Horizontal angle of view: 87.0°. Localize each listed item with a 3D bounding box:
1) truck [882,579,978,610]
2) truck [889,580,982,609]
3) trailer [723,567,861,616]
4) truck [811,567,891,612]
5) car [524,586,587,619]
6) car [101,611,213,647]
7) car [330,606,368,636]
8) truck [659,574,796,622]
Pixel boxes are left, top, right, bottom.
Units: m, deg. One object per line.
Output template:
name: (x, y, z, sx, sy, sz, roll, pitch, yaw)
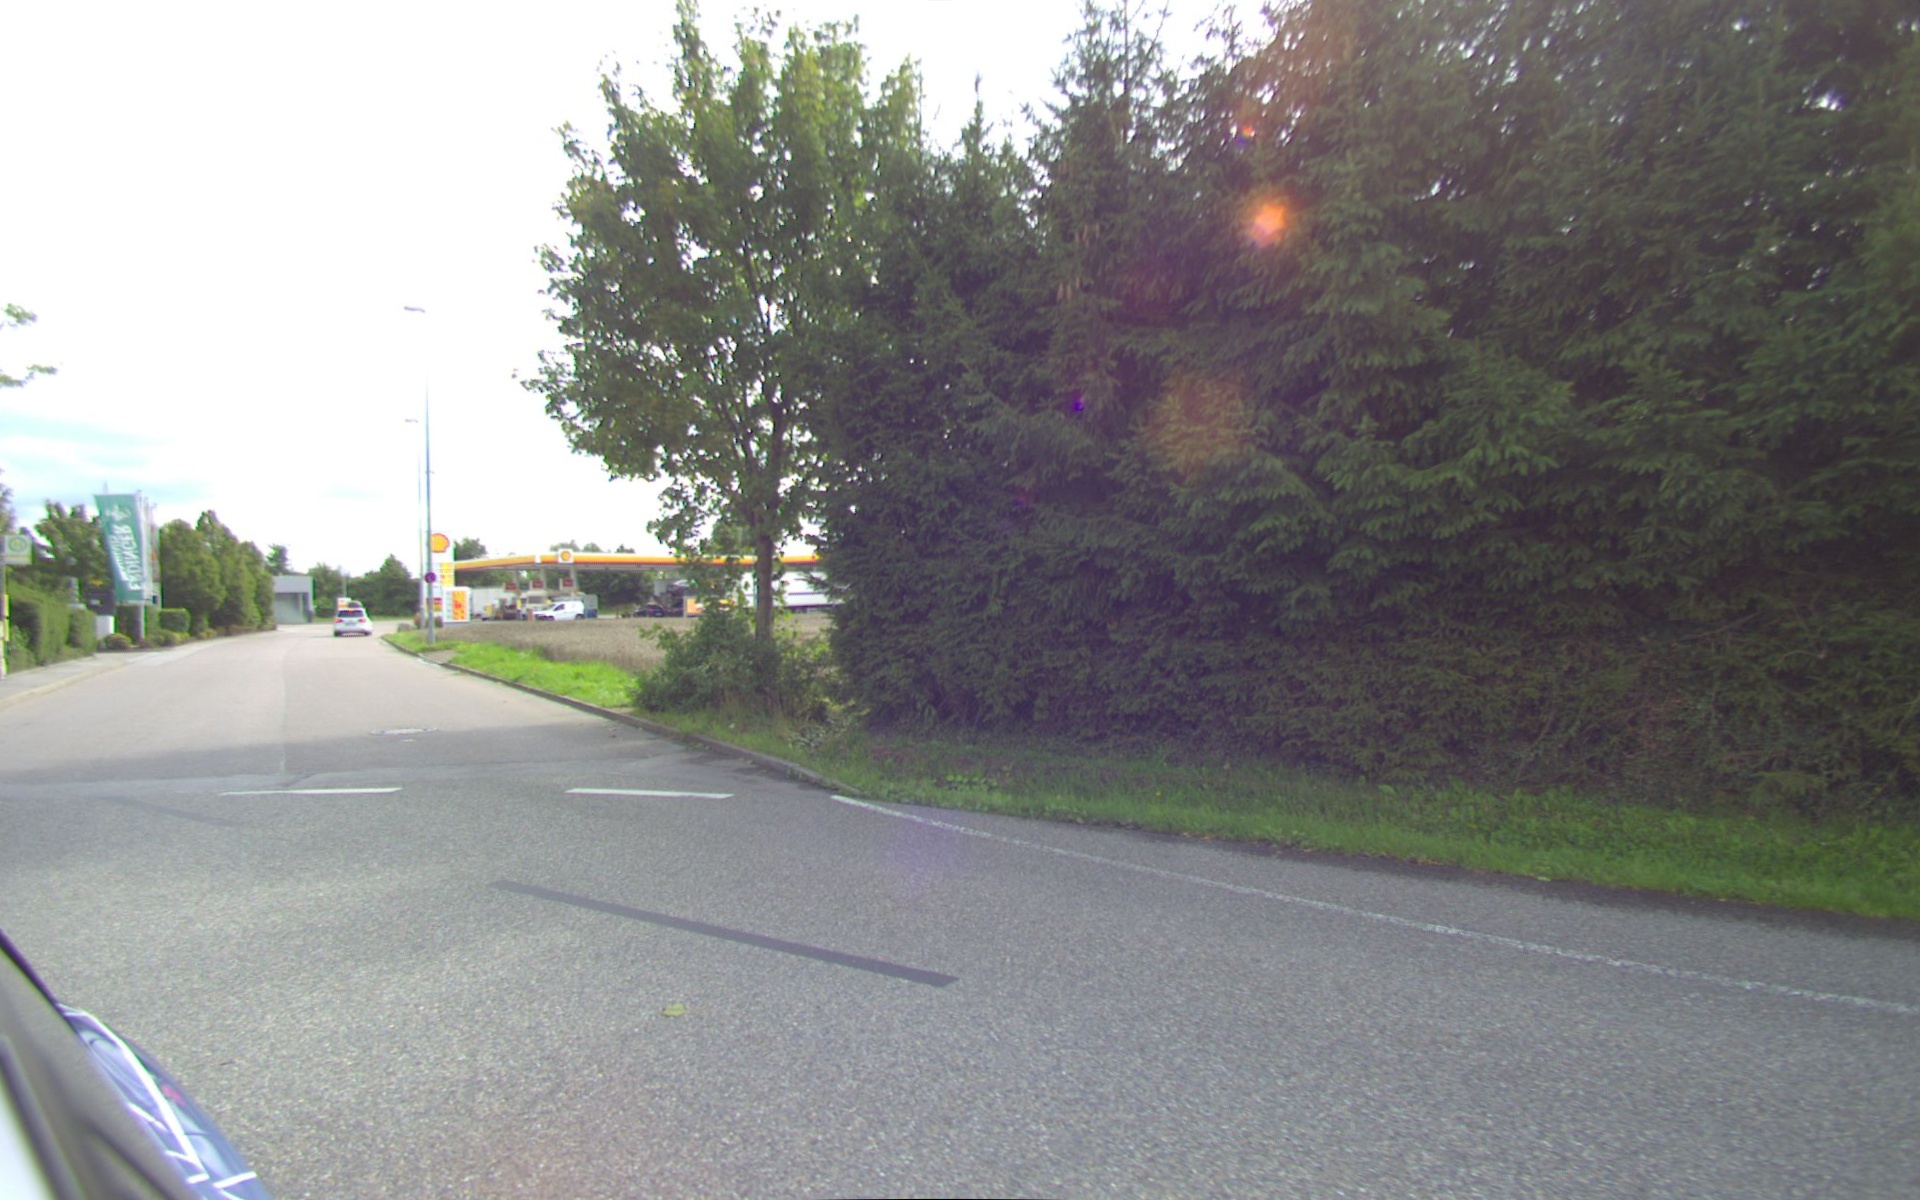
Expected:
truck: (-3.936, -0.768, 135.010, 12.635, 3.922, 2.823, 0, 1, 2)
truck: (-3.355, -0.722, 141.827, 12.842, 3.922, 2.822, 0, 1, 3)
trailer: (-14.649, -0.821, 89.631, 12.653, 4.055, 2.715, -1, 0, -43)
truck: (-10.078, -0.978, 93.952, 7.060, 4.055, 2.715, -1, 0, -43)
car: (-36.275, 0.178, 90.934, 2.204, 2.808, 5.780, -1, 0, 15)
car: (-41.790, 1.477, 52.760, 4.288, 1.729, 1.662, -1, 0, -25)
car: (-35.866, 1.224, 59.383, 1.676, 1.678, 4.043, 1, -1, -34)
truck: (-20.634, -0.273, 90.964, 2.750, 3.953, 13.085, 0, 1, 39)
